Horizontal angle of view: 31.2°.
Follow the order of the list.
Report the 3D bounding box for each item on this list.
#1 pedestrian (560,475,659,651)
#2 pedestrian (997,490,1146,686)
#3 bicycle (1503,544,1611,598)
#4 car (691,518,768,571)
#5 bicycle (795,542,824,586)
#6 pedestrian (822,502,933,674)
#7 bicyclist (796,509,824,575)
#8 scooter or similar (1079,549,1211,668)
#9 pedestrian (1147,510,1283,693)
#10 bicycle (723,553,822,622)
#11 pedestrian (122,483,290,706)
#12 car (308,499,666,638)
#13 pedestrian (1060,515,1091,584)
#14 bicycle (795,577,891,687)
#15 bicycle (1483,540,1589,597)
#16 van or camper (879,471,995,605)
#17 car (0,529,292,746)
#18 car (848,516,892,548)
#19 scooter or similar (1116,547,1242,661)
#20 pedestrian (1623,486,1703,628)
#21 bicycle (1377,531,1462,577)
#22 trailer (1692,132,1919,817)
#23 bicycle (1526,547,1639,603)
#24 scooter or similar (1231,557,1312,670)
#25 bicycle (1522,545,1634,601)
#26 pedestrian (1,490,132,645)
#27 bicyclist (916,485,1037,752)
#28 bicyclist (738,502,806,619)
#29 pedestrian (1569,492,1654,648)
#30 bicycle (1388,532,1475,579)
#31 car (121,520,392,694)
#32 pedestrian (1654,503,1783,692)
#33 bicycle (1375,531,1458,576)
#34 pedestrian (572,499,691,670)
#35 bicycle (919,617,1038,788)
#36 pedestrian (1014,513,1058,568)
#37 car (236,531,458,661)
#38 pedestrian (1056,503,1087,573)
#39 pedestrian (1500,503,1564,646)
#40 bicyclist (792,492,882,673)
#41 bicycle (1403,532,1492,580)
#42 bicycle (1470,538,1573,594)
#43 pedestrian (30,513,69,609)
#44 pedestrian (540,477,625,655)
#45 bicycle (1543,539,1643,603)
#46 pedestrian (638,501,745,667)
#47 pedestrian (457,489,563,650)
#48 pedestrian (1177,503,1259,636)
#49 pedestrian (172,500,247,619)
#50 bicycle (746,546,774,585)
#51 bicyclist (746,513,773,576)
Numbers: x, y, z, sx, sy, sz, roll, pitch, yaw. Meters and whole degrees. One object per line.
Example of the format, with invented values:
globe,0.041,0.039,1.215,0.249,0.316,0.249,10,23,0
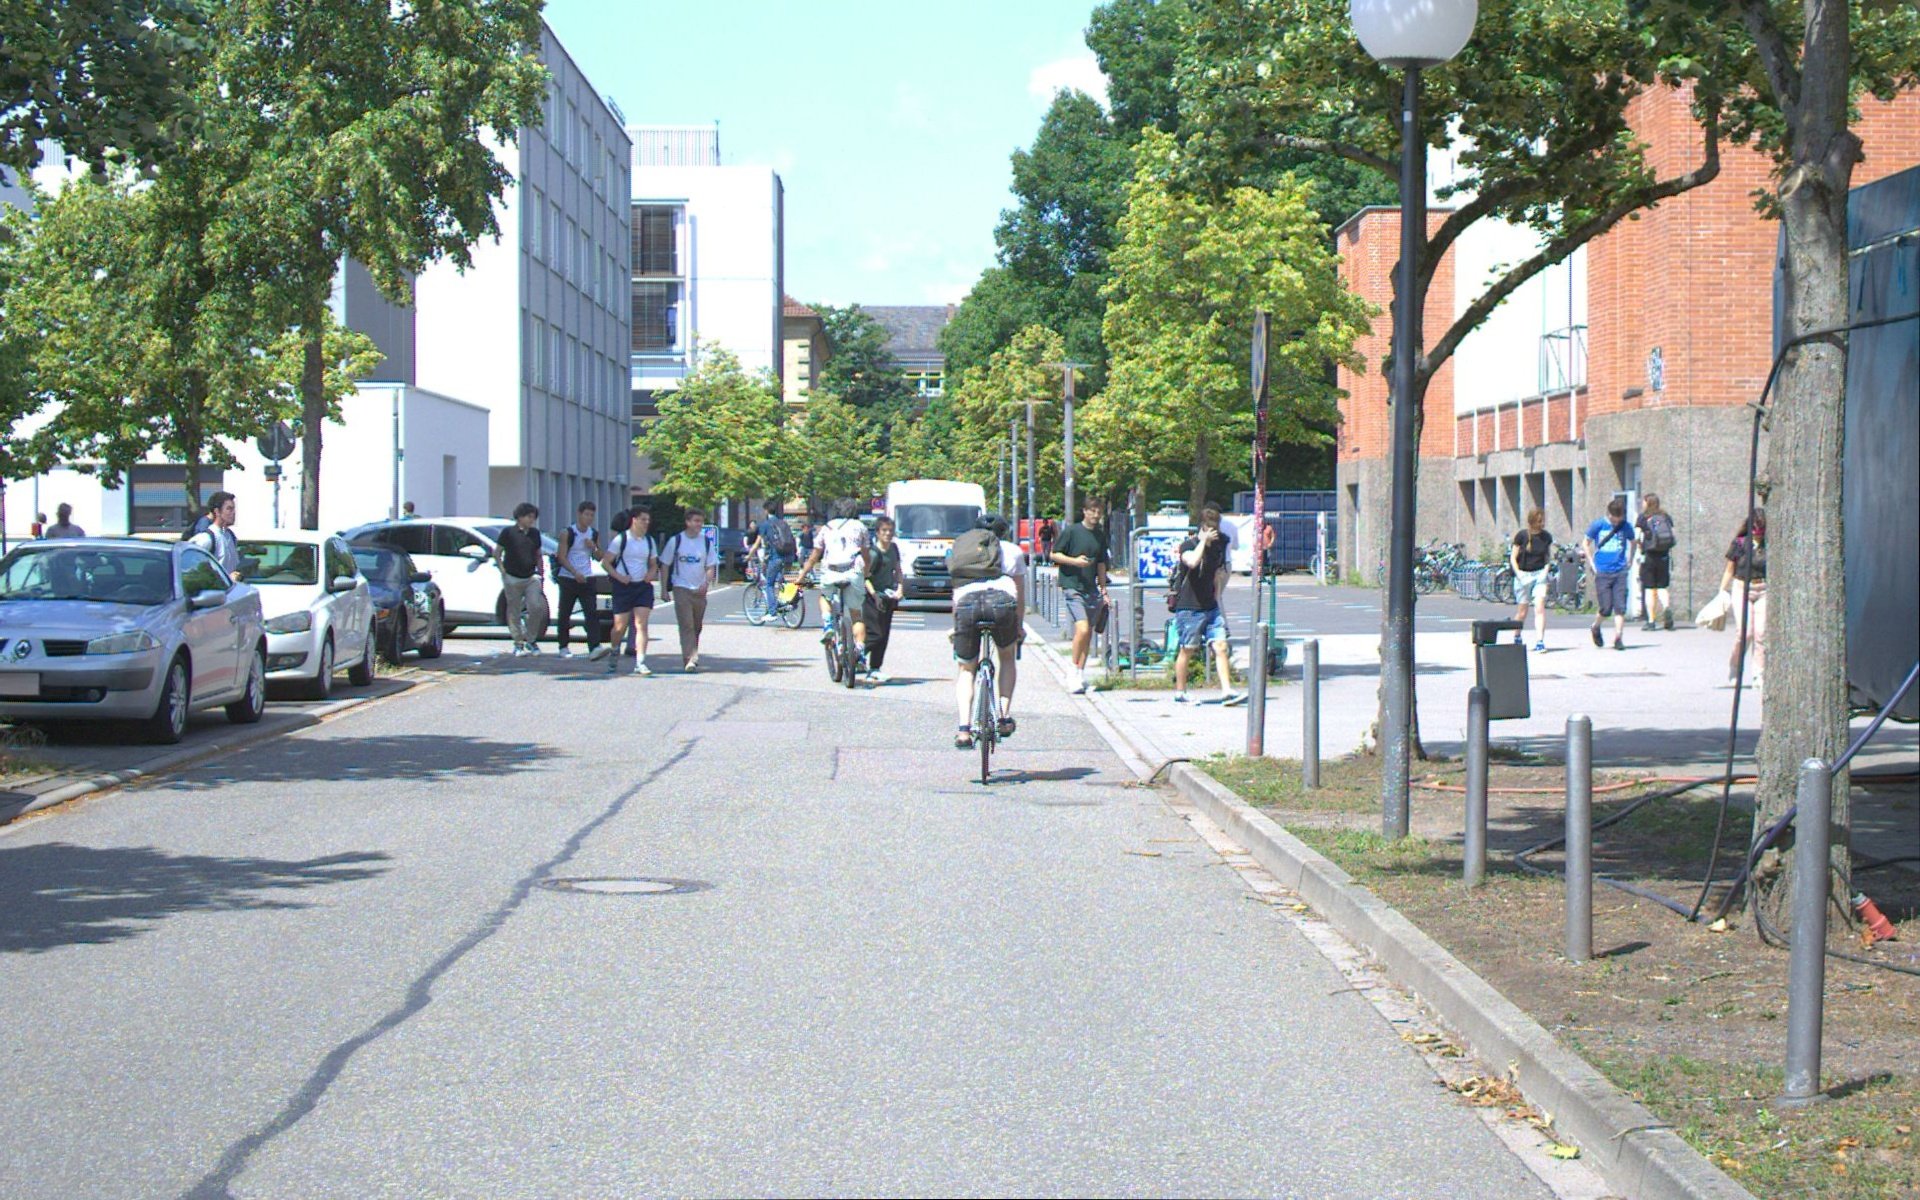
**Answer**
pedestrian,-4.031,-0.423,39.544,0.827,1.973,0.691,3,1,23
pedestrian,1.081,-0.120,33.356,1.115,1.853,0.852,2,1,39
bicycle,10.598,-0.514,61.044,1.809,0.909,0.560,-1,1,-1
car,-6.832,-1.671,102.231,1.795,1.525,4.000,0,1,3
bicycle,-3.875,-0.918,88.644,0.677,0.962,2.003,2,-4,-2
pedestrian,-0.853,-0.129,35.271,0.701,1.714,0.994,0,3,-31
bicyclist,-3.871,-1.497,88.832,0.667,1.676,0.993,-1,1,-2
scooter or similar,2.004,0.081,37.221,1.263,1.260,0.649,0,1,32
pedestrian,2.276,0.001,30.720,0.848,1.589,0.830,-3,2,-43
bicycle,-2.831,-0.201,51.731,0.808,0.999,2.124,1,1,-23
pedestrian,-6.057,-0.041,27.657,1.105,1.710,0.710,3,-1,0
car,-6.288,-0.424,45.487,4.515,1.613,1.920,3,0,34
pedestrian,3.124,-1.359,93.002,0.790,1.853,1.026,0,1,1
bicycle,-1.172,0.300,33.952,0.808,0.999,2.124,-2,1,-5
bicycle,10.527,-0.582,62.851,1.809,0.981,0.560,-1,1,-1
van or camper,-0.393,-1.163,65.680,1.993,2.437,4.569,-1,0,2
car,-6.061,0.199,24.424,1.725,1.339,4.165,2,1,1
car,-4.378,-3.315,168.083,1.795,1.525,4.000,0,1,3
scooter or similar,2.476,0.032,38.812,1.263,1.260,0.638,0,1,32
pedestrian,9.260,-0.571,45.333,0.790,1.853,1.116,0,1,-2
bicycle,10.384,-1.047,77.739,1.809,0.981,0.560,-1,1,-1
trailer,5.581,-0.596,16.248,2.691,3.041,6.258,-1,1,-2
bicycle,10.645,-0.428,58.786,1.809,0.909,0.560,-1,1,-1
scooter or similar,3.305,0.131,36.450,0.649,1.156,1.264,0,1,15
bicycle,10.712,-0.471,59.622,1.809,0.909,0.560,-1,1,-1
pedestrian,-11.567,-0.409,44.532,1.177,1.897,1.015,0,-5,41
bicyclist,0.111,0.112,22.081,0.717,1.656,1.095,1,1,1
bicyclist,-2.833,-0.594,51.758,0.808,1.750,0.692,1,1,-23
pedestrian,7.627,-0.363,40.272,0.708,1.781,0.753,-2,3,-10
bicycle,10.347,-0.982,75.403,1.809,0.981,0.560,-1,1,-1
car,-6.171,0.016,30.535,1.662,1.407,3.807,1,1,-1
pedestrian,6.935,-0.031,31.472,0.875,1.632,0.949,-4,3,0
bicycle,10.444,-1.073,78.702,1.809,0.981,0.560,-1,1,-1
pedestrian,-3.444,-0.171,36.035,0.983,1.733,0.699,3,2,38
bicycle,0.119,0.628,21.919,0.706,0.990,1.911,1,1,0
pedestrian,2.903,-2.283,131.490,1.499,1.989,1.646,-3,2,-2
car,-6.507,-0.081,36.845,1.645,1.296,3.928,0,1,0
pedestrian,3.004,-1.679,92.575,0.790,1.853,1.243,0,1,1
pedestrian,6.662,-0.304,40.025,0.501,1.625,0.571,-3,3,-10
bicyclist,-1.235,-0.184,34.333,0.771,1.750,0.848,-3,1,-4
bicycle,10.474,-0.942,73.869,1.809,0.981,0.560,-1,1,-1
bicycle,10.549,-0.641,64.611,1.809,0.981,0.560,-1,1,-1
pedestrian,-16.831,-0.729,63.530,0.551,1.758,0.586,1,1,0
pedestrian,-4.243,-0.375,38.584,0.616,1.973,0.829,-1,0,-32
bicycle,10.466,-0.483,56.850,1.535,1.029,0.560,-1,1,-1
pedestrian,-2.854,-0.183,36.578,0.908,1.733,0.677,1,2,38
pedestrian,-5.097,-0.345,38.938,0.802,1.766,0.853,3,1,23
pedestrian,3.391,-0.406,45.147,0.959,1.688,0.704,2,4,10
pedestrian,-11.331,-0.603,51.912,0.982,1.779,0.669,0,0,-2
bicycle,-5.112,-0.891,88.016,0.677,0.961,2.003,0,1,-3
bicyclist,-5.131,-1.431,88.071,0.643,1.596,0.909,-1,1,-2
